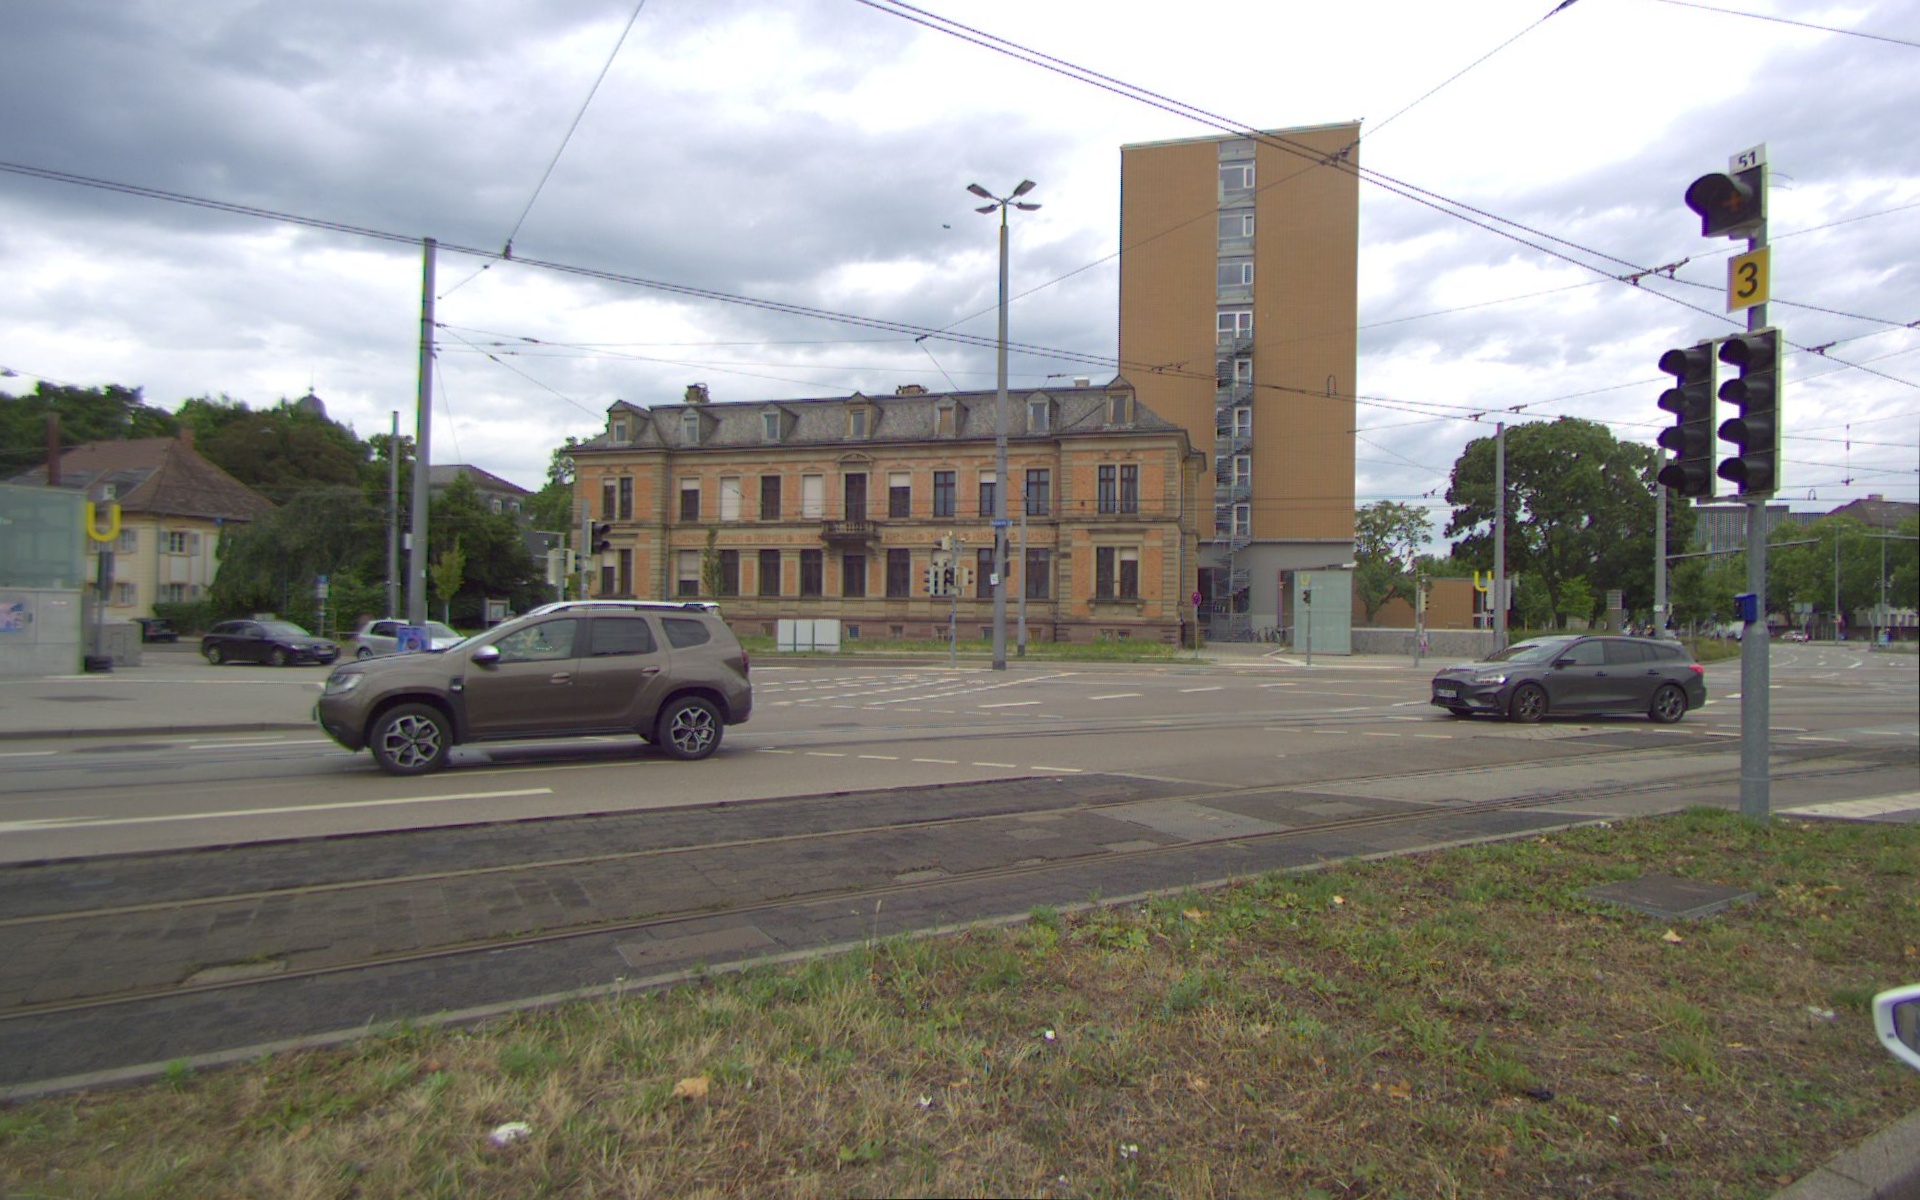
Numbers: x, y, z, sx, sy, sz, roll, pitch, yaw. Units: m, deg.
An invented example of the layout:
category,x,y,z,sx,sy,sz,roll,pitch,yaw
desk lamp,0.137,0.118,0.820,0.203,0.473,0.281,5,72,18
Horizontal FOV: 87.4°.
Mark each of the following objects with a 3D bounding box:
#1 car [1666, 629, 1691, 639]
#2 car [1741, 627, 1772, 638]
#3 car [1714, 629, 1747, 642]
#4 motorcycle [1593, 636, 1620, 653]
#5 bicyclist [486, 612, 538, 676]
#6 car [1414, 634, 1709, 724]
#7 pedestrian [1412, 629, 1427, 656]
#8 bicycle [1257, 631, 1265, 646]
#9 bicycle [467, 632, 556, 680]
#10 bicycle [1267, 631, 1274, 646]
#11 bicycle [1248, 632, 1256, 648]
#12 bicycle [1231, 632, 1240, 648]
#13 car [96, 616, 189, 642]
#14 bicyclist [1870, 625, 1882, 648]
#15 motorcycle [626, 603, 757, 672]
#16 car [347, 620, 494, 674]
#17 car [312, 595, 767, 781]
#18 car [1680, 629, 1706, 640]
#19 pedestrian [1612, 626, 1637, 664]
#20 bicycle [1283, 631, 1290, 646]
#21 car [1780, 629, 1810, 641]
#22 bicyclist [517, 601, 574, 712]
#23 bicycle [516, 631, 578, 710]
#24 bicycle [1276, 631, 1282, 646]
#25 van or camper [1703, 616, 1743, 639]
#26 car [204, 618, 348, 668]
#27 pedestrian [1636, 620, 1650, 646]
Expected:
category,x,y,z,sx,sy,sz,roll,pitch,yaw
car,113.873,5.396,159.151,1.745,1.483,4.002,1,0,11
car,110.441,4.480,139.329,1.746,1.483,4.002,1,0,14
car,94.866,4.357,123.643,1.746,1.483,4.002,1,-1,14
motorcycle,43.677,2.993,67.844,1.716,1.126,0.510,1,-1,-17
bicyclist,-11.858,1.163,26.604,0.899,1.644,0.855,0,-2,20
car,10.311,1.325,17.330,4.313,1.414,1.696,1,-1,-9
pedestrian,23.088,2.128,50.459,0.562,1.353,0.499,1,-1,10
bicycle,22.189,2.838,73.968,0.561,1.120,1.428,1,-1,18
bicycle,-11.868,1.463,26.596,2.154,1.224,0.857,0,-2,20
bicycle,22.813,2.847,73.769,0.500,1.063,1.428,1,-1,18
bicycle,21.545,2.961,74.134,0.561,1.120,1.428,1,-1,18
bicycle,20.419,2.940,74.478,0.561,1.120,1.428,1,-1,18
car,-45.039,1.580,55.348,3.919,1.305,1.936,1,-1,12
bicyclist,83.017,3.327,91.034,0.578,2.040,0.514,1,-2,13
motorcycle,-8.419,1.136,31.559,3.614,2.040,1.696,1,-1,19
car,-16.247,1.377,30.256,4.081,1.473,1.761,0,-1,23
car,-4.371,0.839,10.781,4.178,1.661,1.790,2,-1,-29
car,109.907,5.177,150.631,1.746,1.483,4.002,1,0,14
pedestrian,36.022,2.420,54.444,1.009,2.040,0.842,0,-1,41
bicycle,23.883,2.823,73.486,0.472,1.063,1.428,1,-1,18
car,107.497,4.494,129.339,1.747,1.483,3.999,1,0,22
bicyclist,-7.085,0.935,17.157,0.805,1.822,1.022,0,0,-28
bicycle,-7.055,1.166,17.087,0.805,1.259,1.986,0,-2,-27
bicycle,23.387,2.833,73.646,0.472,1.063,1.428,1,-1,18
van or camper,108.239,3.947,142.527,2.347,3.165,5.507,1,-1,12
car,-22.007,1.347,32.344,4.061,1.468,1.697,1,-1,18
pedestrian,52.167,2.521,76.720,0.781,2.007,0.880,1,-2,26
